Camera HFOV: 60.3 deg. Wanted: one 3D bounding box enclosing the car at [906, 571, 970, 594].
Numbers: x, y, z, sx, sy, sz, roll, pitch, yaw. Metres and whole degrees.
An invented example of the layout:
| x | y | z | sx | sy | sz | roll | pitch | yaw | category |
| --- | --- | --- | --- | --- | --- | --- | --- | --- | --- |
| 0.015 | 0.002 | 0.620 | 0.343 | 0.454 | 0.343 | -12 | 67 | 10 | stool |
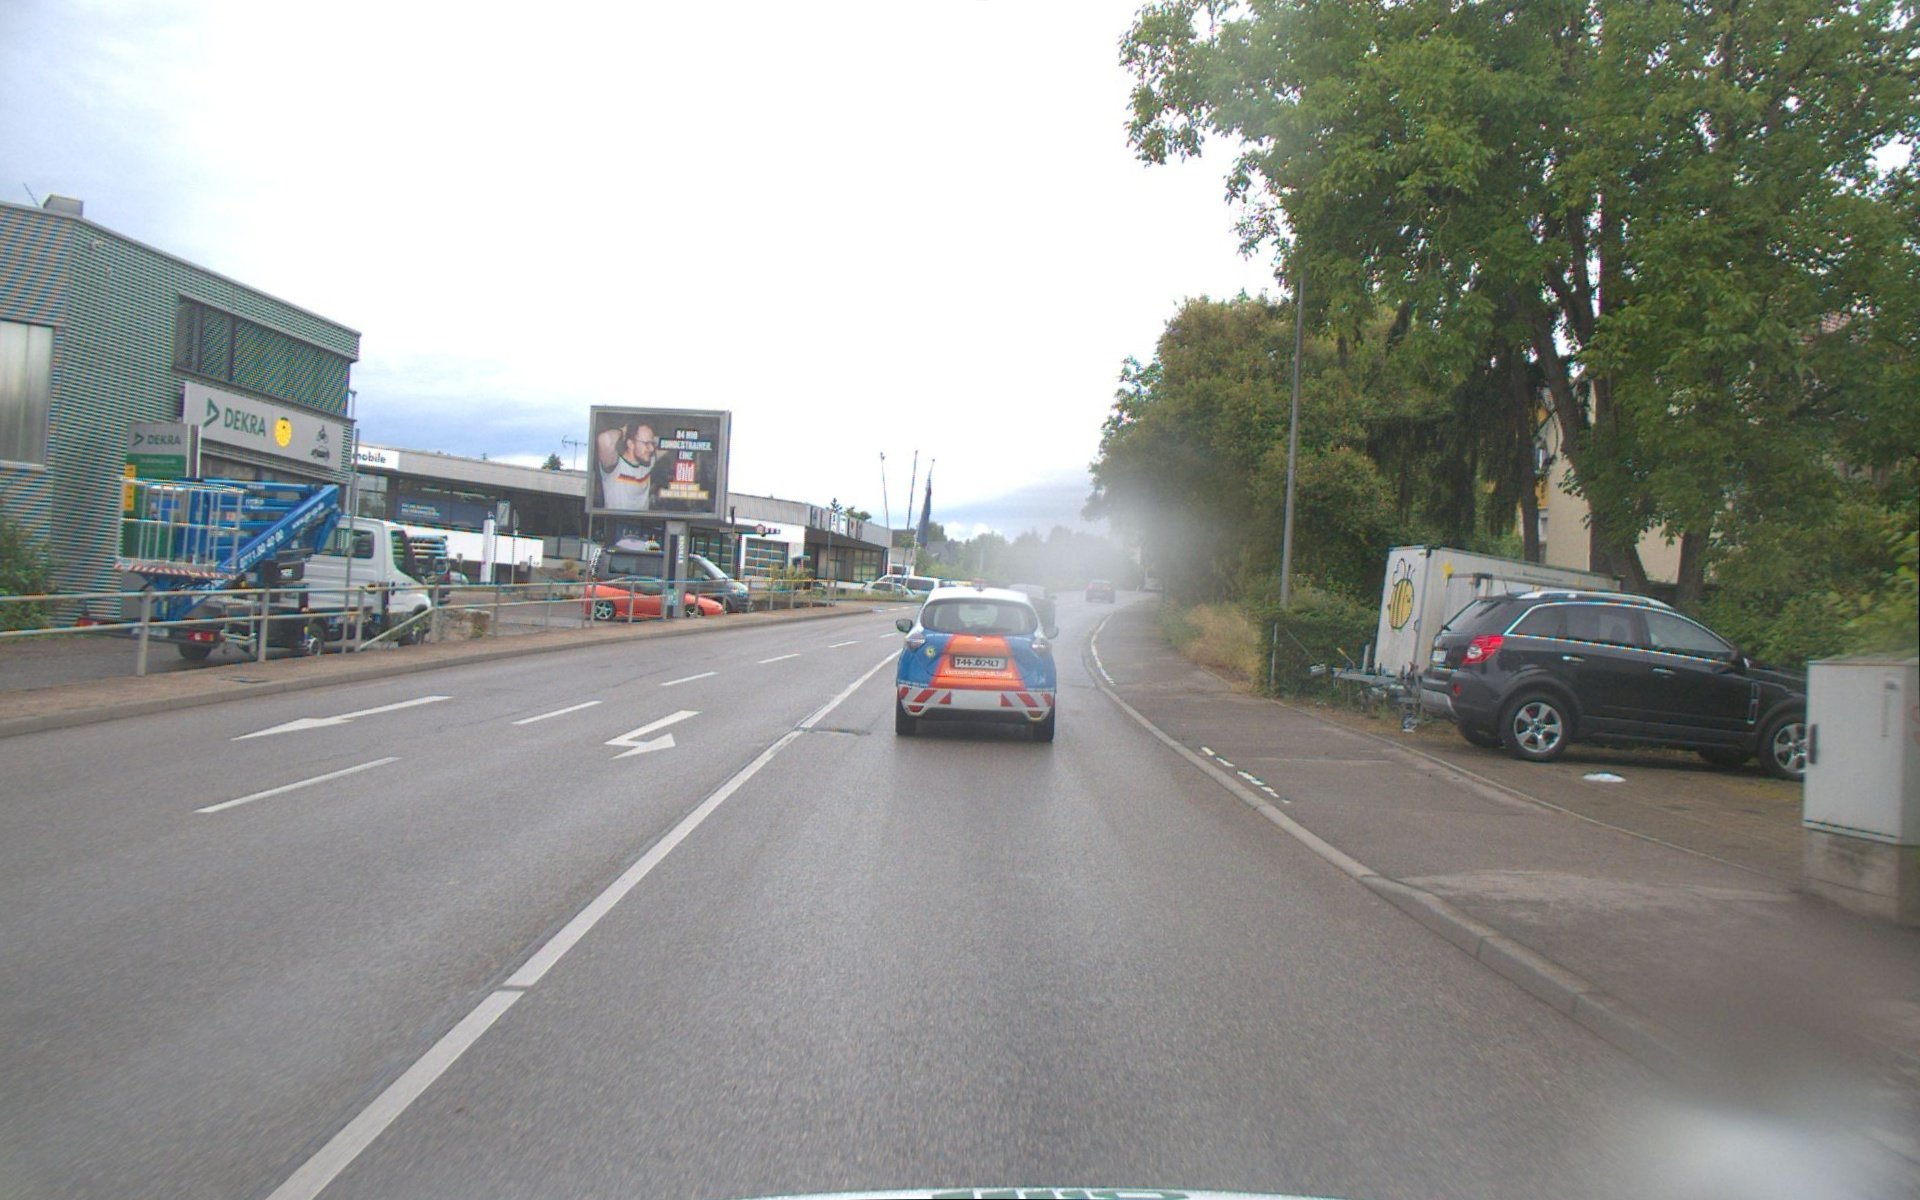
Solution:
| x | y | z | sx | sy | sz | roll | pitch | yaw | category |
| --- | --- | --- | --- | --- | --- | --- | --- | --- | --- |
| -1.396 | -1.157 | 107.892 | 3.977 | 1.313 | 1.806 | 3 | 1 | 5 | car |

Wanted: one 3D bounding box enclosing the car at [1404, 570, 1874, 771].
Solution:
| x | y | z | sx | sy | sz | roll | pitch | yaw | category |
| --- | --- | --- | --- | --- | --- | --- | --- | --- | --- |
| 7.091 | 0.691 | 17.644 | 4.126 | 1.780 | 1.985 | 3 | 1 | 1 | car |

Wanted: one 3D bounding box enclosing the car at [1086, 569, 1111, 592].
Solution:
| x | y | z | sx | sy | sz | roll | pitch | yaw | category |
| --- | --- | --- | --- | --- | --- | --- | --- | --- | --- |
| 9.148 | -1.249 | 108.960 | 1.580 | 1.432 | 3.500 | 2 | 0 | 6 | car |

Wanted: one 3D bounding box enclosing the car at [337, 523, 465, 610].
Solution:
| x | y | z | sx | sy | sz | roll | pitch | yaw | category |
| --- | --- | --- | --- | --- | --- | --- | --- | --- | --- |
| -14.761 | -0.918 | 43.492 | 1.975 | 2.021 | 4.823 | 3 | 1 | -33 | car |

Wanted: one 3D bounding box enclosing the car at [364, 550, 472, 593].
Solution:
| x | y | z | sx | sy | sz | roll | pitch | yaw | category |
| --- | --- | --- | --- | --- | --- | --- | --- | --- | --- |
| -21.191 | -1.103 | 64.609 | 4.021 | 1.452 | 1.884 | 4 | 1 | 33 | car |

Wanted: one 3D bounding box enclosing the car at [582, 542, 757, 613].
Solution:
| x | y | z | sx | sy | sz | roll | pitch | yaw | category |
| --- | --- | --- | --- | --- | --- | --- | --- | --- | --- |
| -8.851 | -0.677 | 50.620 | 4.964 | 1.903 | 1.822 | 3 | 0 | -1 | car |

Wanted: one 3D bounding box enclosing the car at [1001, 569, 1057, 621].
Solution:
| x | y | z | sx | sy | sz | roll | pitch | yaw | category |
| --- | --- | --- | --- | --- | --- | --- | --- | --- | --- |
| 2.364 | -0.166 | 56.027 | 1.764 | 1.617 | 3.565 | 2 | 0 | 4 | car |

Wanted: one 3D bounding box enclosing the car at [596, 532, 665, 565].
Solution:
| x | y | z | sx | sy | sz | roll | pitch | yaw | category |
| --- | --- | --- | --- | --- | --- | --- | --- | --- | --- |
| -16.910 | -2.639 | 85.086 | 1.780 | 1.504 | 4.025 | 3 | 1 | 17 | car |

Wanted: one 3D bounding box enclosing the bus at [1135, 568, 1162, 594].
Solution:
| x | y | z | sx | sy | sz | roll | pitch | yaw | category |
| --- | --- | --- | --- | --- | --- | --- | --- | --- | --- |
| 24.835 | -2.443 | 218.424 | 2.850 | 3.225 | 11.471 | 2 | 0 | 3 | bus |

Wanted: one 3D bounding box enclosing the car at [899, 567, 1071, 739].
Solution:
| x | y | z | sx | sy | sz | roll | pitch | yaw | category |
| --- | --- | --- | --- | --- | --- | --- | --- | --- | --- |
| 0.229 | 0.532 | 18.381 | 1.624 | 1.620 | 3.567 | 4 | 0 | -1 | car |

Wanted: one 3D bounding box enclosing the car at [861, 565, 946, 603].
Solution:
| x | y | z | sx | sy | sz | roll | pitch | yaw | category |
| --- | --- | --- | --- | --- | --- | --- | --- | --- | --- |
| -3.032 | -0.876 | 89.363 | 4.319 | 1.829 | 1.936 | 3 | 1 | 7 | car |

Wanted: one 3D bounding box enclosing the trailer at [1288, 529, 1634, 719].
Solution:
| x | y | z | sx | sy | sz | roll | pitch | yaw | category |
| --- | --- | --- | --- | --- | --- | --- | --- | --- | --- |
| 7.445 | 0.342 | 24.819 | 4.449 | 2.442 | 1.946 | 4 | 0 | -8 | trailer |

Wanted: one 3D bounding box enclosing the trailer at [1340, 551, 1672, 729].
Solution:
| x | y | z | sx | sy | sz | roll | pitch | yaw | category |
| --- | --- | --- | --- | --- | --- | --- | --- | --- | --- |
| 7.413 | 0.522 | 22.707 | 3.872 | 2.056 | 1.687 | 4 | 0 | -1 | trailer |

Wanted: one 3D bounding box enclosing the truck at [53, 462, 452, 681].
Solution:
| x | y | z | sx | sy | sz | roll | pitch | yaw | category |
| --- | --- | --- | --- | --- | --- | --- | --- | --- | --- |
| -10.097 | -0.481 | 24.694 | 1.952 | 2.678 | 7.898 | 2 | 2 | 5 | truck |

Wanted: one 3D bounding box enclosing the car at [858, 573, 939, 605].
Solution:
| x | y | z | sx | sy | sz | roll | pitch | yaw | category |
| --- | --- | --- | --- | --- | --- | --- | --- | --- | --- |
| -3.214 | -0.590 | 86.630 | 3.924 | 1.504 | 1.825 | 3 | 1 | 7 | car |

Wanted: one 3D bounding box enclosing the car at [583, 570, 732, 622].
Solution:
| x | y | z | sx | sy | sz | roll | pitch | yaw | category |
| --- | --- | --- | --- | --- | --- | --- | --- | --- | --- |
| -8.658 | -0.134 | 47.583 | 4.012 | 1.289 | 1.768 | 2 | 1 | -5 | car |

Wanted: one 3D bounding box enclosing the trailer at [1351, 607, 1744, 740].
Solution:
| x | y | z | sx | sy | sz | roll | pitch | yaw | category |
| --- | --- | --- | --- | --- | --- | --- | --- | --- | --- |
| 7.275 | 0.894 | 20.732 | 4.308 | 1.310 | 1.572 | 3 | 1 | -1 | trailer |
